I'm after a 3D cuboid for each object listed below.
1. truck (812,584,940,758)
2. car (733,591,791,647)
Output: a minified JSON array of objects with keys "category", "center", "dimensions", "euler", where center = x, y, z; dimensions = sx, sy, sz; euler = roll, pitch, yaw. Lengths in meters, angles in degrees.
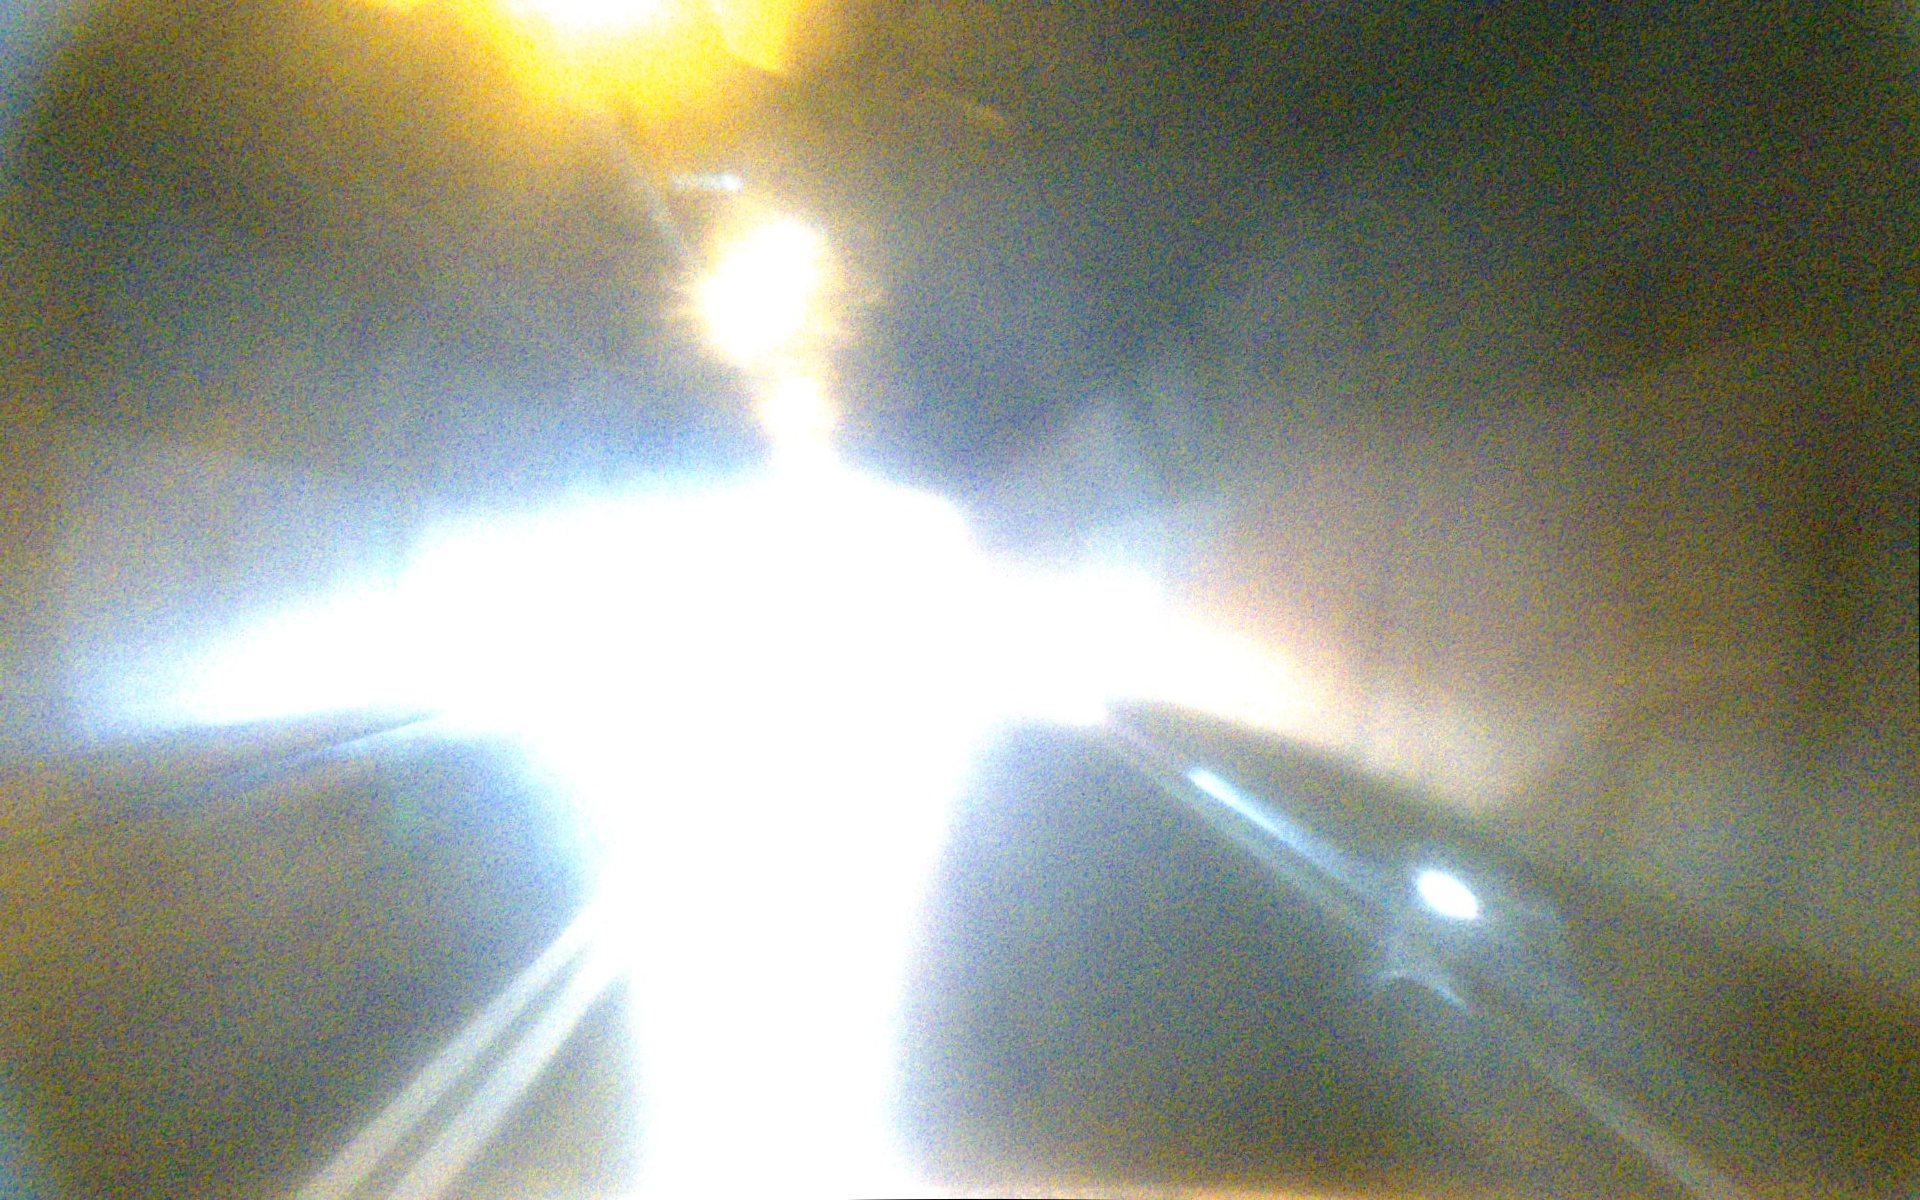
[{"category":"truck","center":[-1.679,1.263,33.344],"dimensions":[2.217,3.063,7.411],"euler":[2,0,-3]},{"category":"car","center":[-5.729,0.506,47.969],"dimensions":[1.590,1.544,4.131],"euler":[0,0,-7]}]
